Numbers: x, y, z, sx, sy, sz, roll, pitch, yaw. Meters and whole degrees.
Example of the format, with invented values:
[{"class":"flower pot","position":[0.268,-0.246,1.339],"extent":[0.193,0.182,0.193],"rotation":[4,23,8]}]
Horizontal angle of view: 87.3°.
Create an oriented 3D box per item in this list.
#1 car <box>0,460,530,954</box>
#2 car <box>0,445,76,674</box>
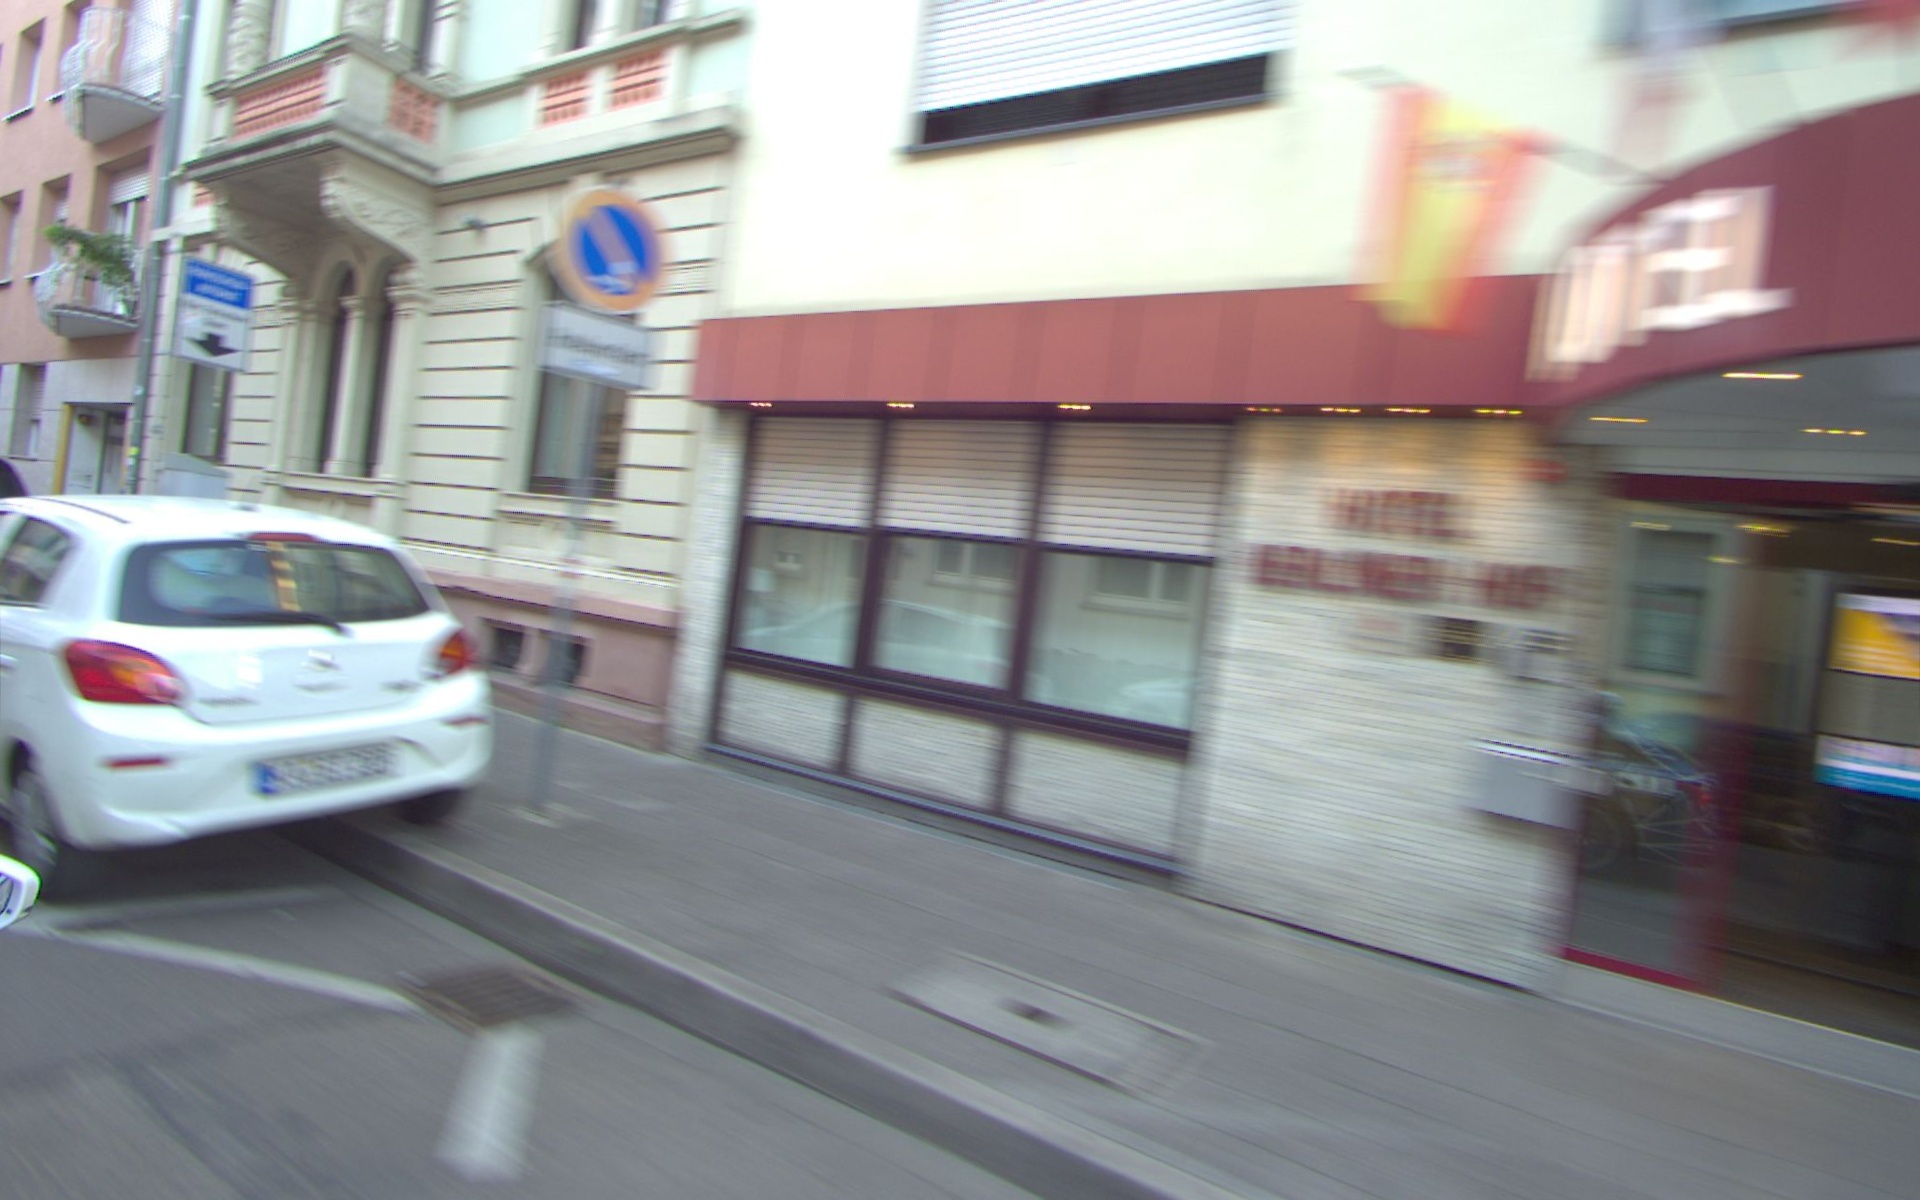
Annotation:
[{"class":"car","position":[-3.963,0.246,4.912],"extent":[3.530,1.598,1.572],"rotation":[7,0,32]},{"class":"car","position":[-9.356,-0.566,8.469],"extent":[4.041,1.762,1.692],"rotation":[7,0,32]}]
